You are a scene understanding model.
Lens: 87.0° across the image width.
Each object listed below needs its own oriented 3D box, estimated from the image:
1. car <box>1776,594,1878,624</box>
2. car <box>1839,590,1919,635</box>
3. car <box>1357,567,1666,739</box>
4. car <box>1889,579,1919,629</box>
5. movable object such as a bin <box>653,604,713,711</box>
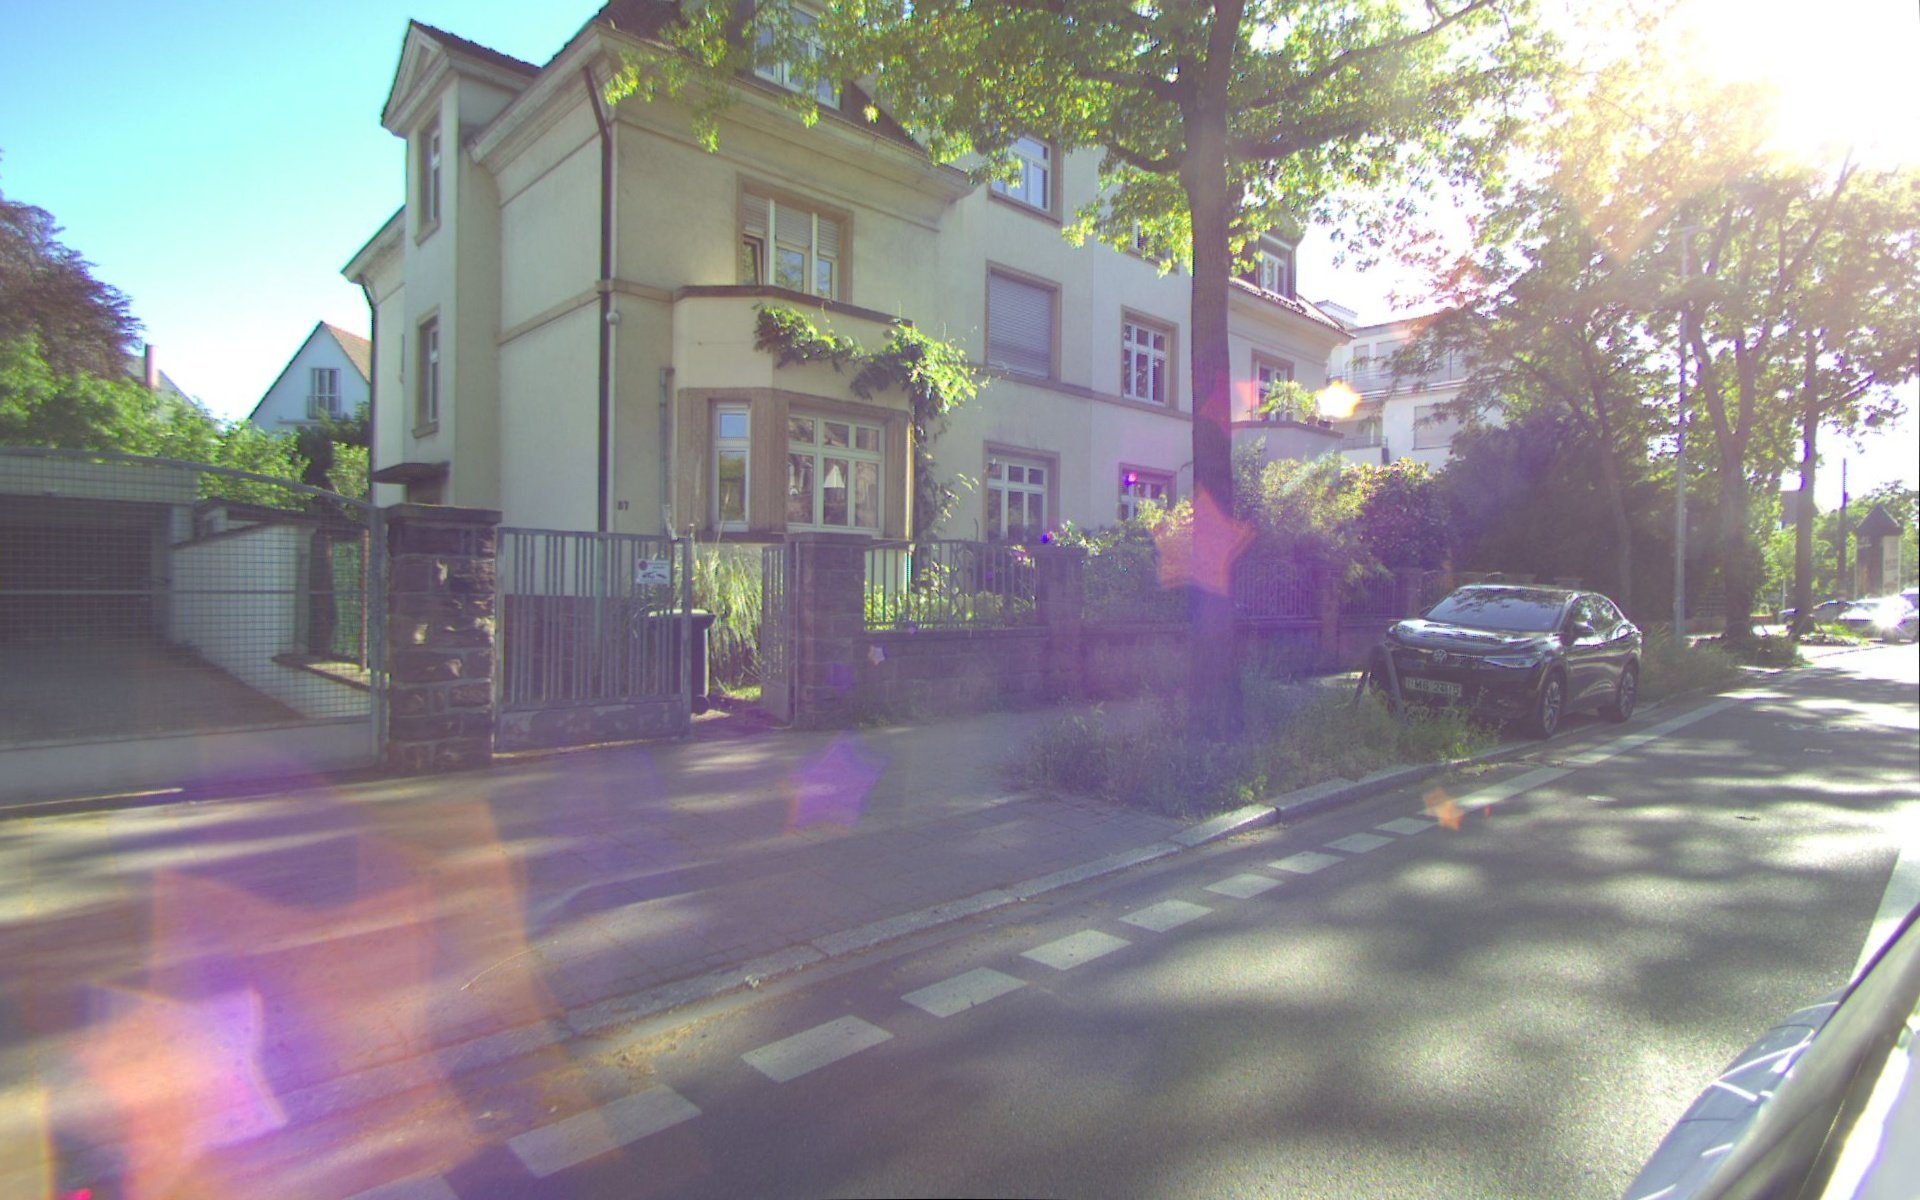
[{"bbox_3d":[46.070,0.457,53.833,1.784,1.459,3.990,0,1,-44],"label":"car"},{"bbox_3d":[31.514,0.382,34.268,4.181,1.427,1.901,0,1,-38],"label":"car"},{"bbox_3d":[6.710,0.495,12.133,4.186,1.619,1.917,0,4,-42],"label":"car"},{"bbox_3d":[36.674,0.129,37.850,4.580,1.808,1.903,0,1,-35],"label":"car"},{"bbox_3d":[-2.923,0.584,10.668,0.551,1.062,0.676,0,0,-20],"label":"movable object such as a bin"}]
